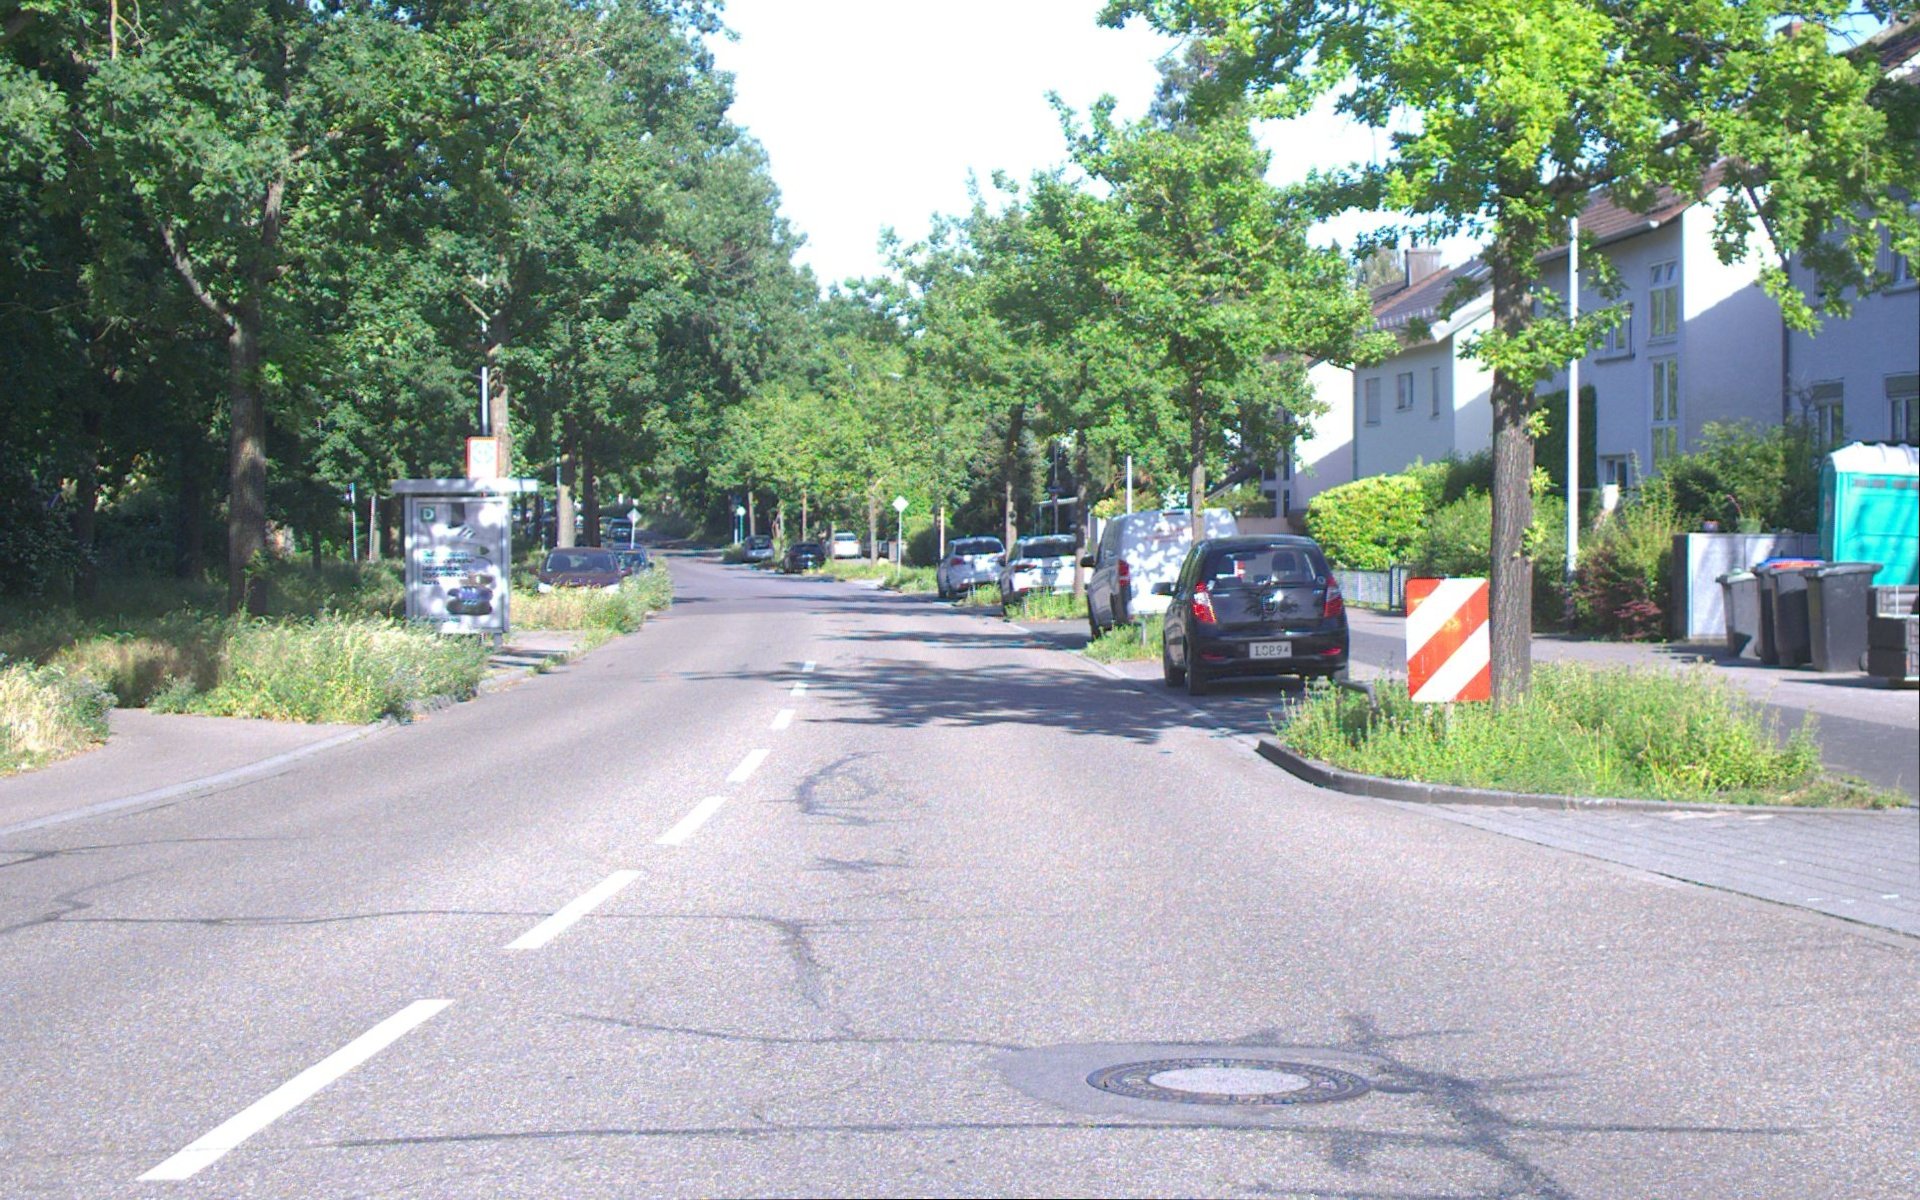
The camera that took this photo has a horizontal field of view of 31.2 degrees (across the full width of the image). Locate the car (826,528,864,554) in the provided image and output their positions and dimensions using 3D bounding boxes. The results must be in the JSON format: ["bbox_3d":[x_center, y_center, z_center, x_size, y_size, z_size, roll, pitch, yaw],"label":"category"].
[{"bbox_3d":[-6.295,-3.223,187.941,1.933,1.449,4.001,0,1,-4],"label":"car"}]

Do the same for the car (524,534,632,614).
[{"bbox_3d":[-7.218,-0.519,65.225,1.935,1.474,4.001,0,1,-5],"label":"car"}]

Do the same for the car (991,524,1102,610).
[{"bbox_3d":[1.742,-0.685,70.217,1.935,1.698,4.001,0,1,-3],"label":"car"}]

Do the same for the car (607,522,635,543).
[{"bbox_3d":[-24.188,-4.801,245.476,1.933,1.449,4.001,0,1,-4],"label":"car"}]

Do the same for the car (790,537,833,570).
[{"bbox_3d":[-6.997,-2.192,161.794,1.933,1.537,4.001,0,1,-3],"label":"car"}]

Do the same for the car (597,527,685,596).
[{"bbox_3d":[-7.565,-0.923,81.504,1.993,1.551,4.001,1,1,-6],"label":"car"}]

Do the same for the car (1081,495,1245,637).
[{"bbox_3d":[2.900,-0.512,50.012,1.835,1.964,4.759,0,1,-3],"label":"car"}]

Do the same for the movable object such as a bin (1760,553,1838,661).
[{"bbox_3d":[8.390,0.068,34.394,0.603,1.065,0.646,0,1,-2],"label":"movable object such as a bin"}]

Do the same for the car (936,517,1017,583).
[{"bbox_3d":[0.410,-1.360,92.704,1.933,1.736,4.001,0,1,-3],"label":"car"}]

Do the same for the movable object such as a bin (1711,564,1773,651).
[{"bbox_3d":[8.453,0.081,37.179,0.529,0.929,0.549,0,1,-2],"label":"movable object such as a bin"}]

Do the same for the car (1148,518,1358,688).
[{"bbox_3d":[2.900,-0.007,34.651,1.672,1.573,3.752,-2,1,-1],"label":"car"}]

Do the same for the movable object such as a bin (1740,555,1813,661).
[{"bbox_3d":[8.355,0.079,35.186,0.603,1.065,0.567,0,1,-2],"label":"movable object such as a bin"}]

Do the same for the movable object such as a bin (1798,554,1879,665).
[{"bbox_3d":[8.522,0.089,33.379,0.603,1.065,0.646,0,1,-2],"label":"movable object such as a bin"}]

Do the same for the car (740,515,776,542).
[{"bbox_3d":[-11.150,-3.936,189.696,1.933,1.449,4.001,0,1,-4],"label":"car"}]
